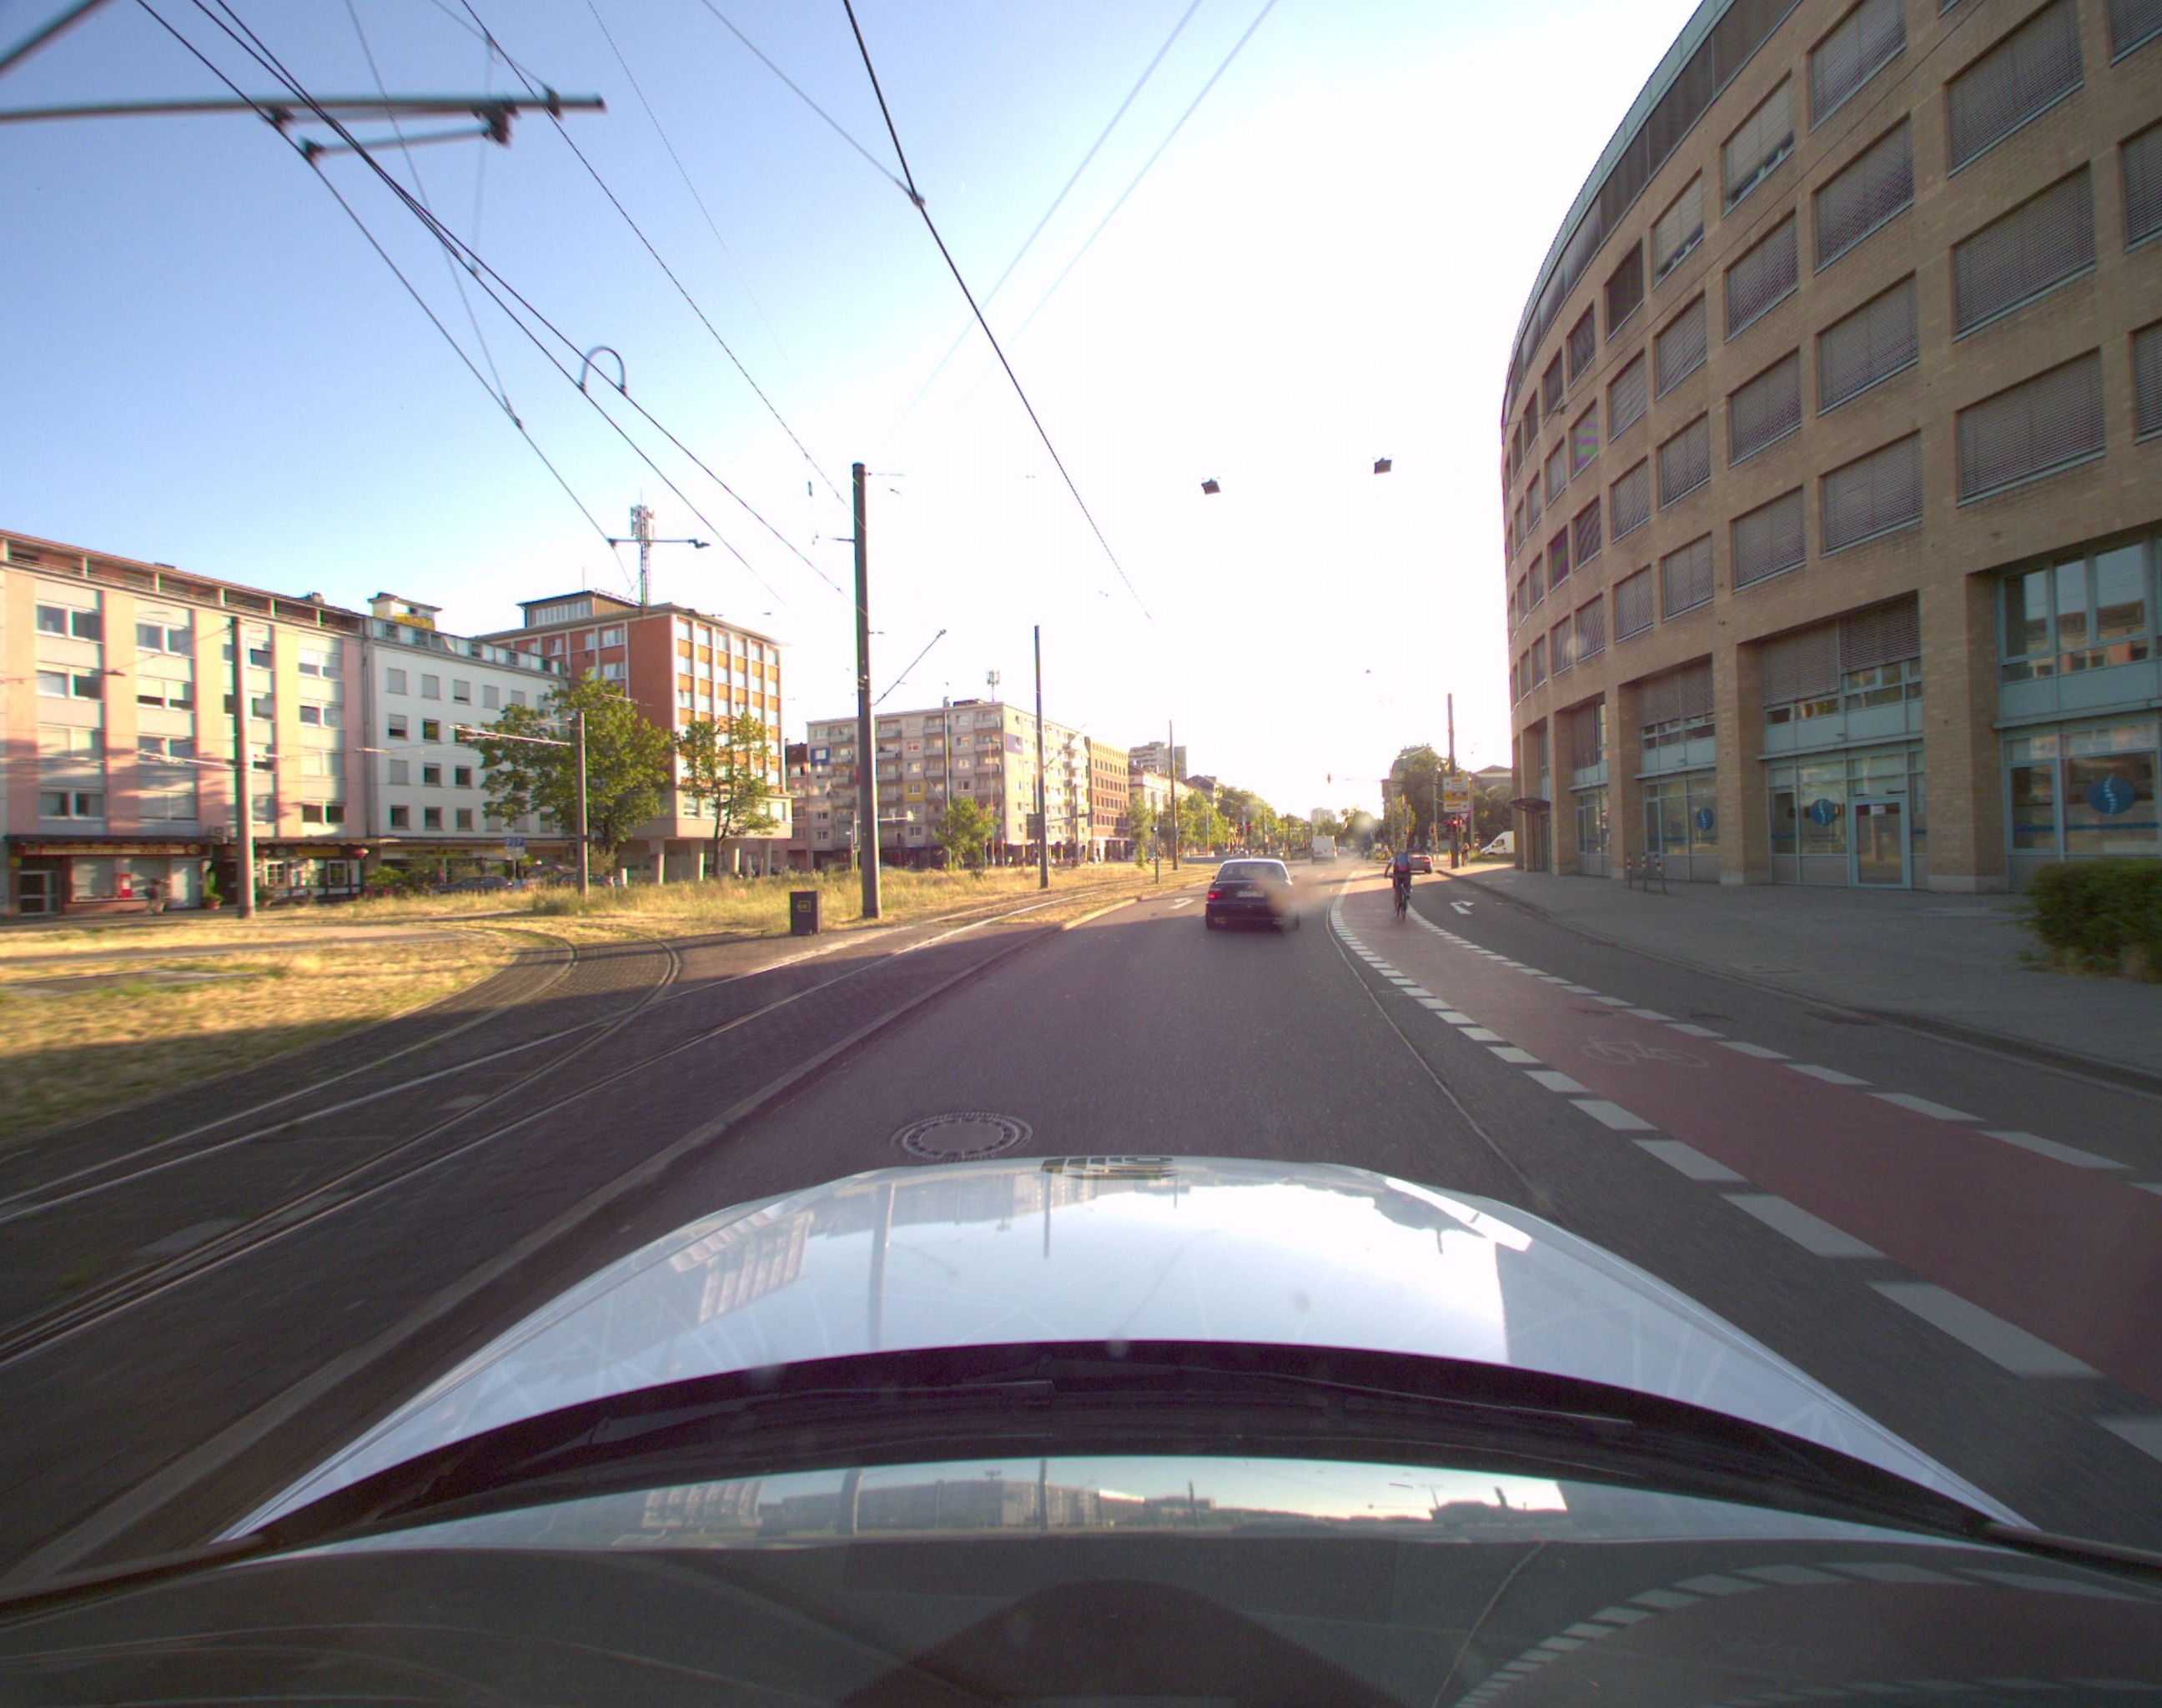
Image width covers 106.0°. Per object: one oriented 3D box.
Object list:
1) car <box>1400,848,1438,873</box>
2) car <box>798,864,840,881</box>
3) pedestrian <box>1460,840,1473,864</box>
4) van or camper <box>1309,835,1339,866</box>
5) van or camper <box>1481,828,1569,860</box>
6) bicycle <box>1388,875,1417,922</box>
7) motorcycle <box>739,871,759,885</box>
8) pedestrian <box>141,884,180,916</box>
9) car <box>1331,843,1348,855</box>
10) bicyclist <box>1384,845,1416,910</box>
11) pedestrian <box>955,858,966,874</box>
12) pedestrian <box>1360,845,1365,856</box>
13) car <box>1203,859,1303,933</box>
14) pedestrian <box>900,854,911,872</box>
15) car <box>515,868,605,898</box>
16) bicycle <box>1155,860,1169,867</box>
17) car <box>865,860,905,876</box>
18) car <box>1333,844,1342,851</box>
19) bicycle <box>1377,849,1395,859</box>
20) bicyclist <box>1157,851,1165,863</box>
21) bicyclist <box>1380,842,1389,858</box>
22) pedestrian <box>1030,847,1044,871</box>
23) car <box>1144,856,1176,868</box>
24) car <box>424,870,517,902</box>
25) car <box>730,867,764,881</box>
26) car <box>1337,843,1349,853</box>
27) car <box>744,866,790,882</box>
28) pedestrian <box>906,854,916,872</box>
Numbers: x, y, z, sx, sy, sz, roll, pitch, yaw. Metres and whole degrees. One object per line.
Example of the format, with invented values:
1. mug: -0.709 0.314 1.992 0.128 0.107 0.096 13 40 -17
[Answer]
1. car: 19.857 0.352 47.994 1.769 1.354 4.288 -1 1 19
2. car: -27.999 1.942 87.036 3.836 1.585 1.811 -2 1 14
3. pedestrian: 26.671 -0.138 56.301 0.671 1.569 0.804 -2 1 17
4. van or camper: 22.329 -0.343 74.770 2.244 2.624 4.526 -2 1 21
5. van or camper: 41.723 -0.969 76.793 6.981 2.674 2.612 -2 1 22
6. bicycle: 7.475 1.012 18.996 0.511 0.954 1.784 0 1 18
7. motorcycle: -26.810 1.953 65.841 1.438 1.068 0.534 -2 1 19
8. pedestrian: -45.991 2.306 40.690 1.109 1.528 0.857 -2 1 17
9. car: 32.504 -0.603 102.351 1.722 1.385 4.021 -2 1 20
10. bicyclist: 7.454 0.530 19.057 0.650 1.483 1.043 0 0 18
11. pedestrian: -12.888 1.245 86.979 0.732 1.669 0.787 -2 1 25
12. pedestrian: 39.009 -0.507 112.861 0.611 1.475 0.805 -2 1 24
13. car: 3.809 0.792 17.503 1.816 1.354 4.660 -1 0 15
14. pedestrian: -18.630 0.952 86.407 0.699 1.851 0.741 -2 1 20
15. car: -32.065 1.751 50.191 1.737 1.526 4.319 -2 1 42
16. bicycle: 10.616 1.236 106.727 1.733 0.970 0.700 0 2 -19
17. car: -22.113 1.605 91.866 3.836 1.585 1.811 -2 1 14
18. car: 62.989 -1.595 199.994 1.780 1.566 4.018 -2 1 16
19. bicycle: 32.130 -0.032 85.886 1.714 0.970 0.612 -1 1 19
20. bicyclist: 10.541 0.380 106.670 0.856 1.442 0.659 -1 1 -18
21. bicyclist: 32.006 -0.439 85.927 0.791 1.571 0.666 -2 1 20
22. pedestrian: -3.366 0.392 62.672 0.712 1.762 0.654 -2 1 41
23. car: 10.546 1.078 109.092 3.980 1.434 1.716 -1 2 -5
24. car: -35.178 1.830 46.989 1.737 1.526 4.025 -2 1 42
25. car: -45.177 2.720 110.270 3.836 1.585 1.811 -2 1 14
26. car: 44.495 -0.959 138.557 1.780 1.566 4.018 -2 1 16
27. car: -34.729 2.176 90.022 4.248 1.585 1.997 -2 1 14
28. pedestrian: -17.961 0.931 86.004 0.597 1.847 0.826 -2 1 20
